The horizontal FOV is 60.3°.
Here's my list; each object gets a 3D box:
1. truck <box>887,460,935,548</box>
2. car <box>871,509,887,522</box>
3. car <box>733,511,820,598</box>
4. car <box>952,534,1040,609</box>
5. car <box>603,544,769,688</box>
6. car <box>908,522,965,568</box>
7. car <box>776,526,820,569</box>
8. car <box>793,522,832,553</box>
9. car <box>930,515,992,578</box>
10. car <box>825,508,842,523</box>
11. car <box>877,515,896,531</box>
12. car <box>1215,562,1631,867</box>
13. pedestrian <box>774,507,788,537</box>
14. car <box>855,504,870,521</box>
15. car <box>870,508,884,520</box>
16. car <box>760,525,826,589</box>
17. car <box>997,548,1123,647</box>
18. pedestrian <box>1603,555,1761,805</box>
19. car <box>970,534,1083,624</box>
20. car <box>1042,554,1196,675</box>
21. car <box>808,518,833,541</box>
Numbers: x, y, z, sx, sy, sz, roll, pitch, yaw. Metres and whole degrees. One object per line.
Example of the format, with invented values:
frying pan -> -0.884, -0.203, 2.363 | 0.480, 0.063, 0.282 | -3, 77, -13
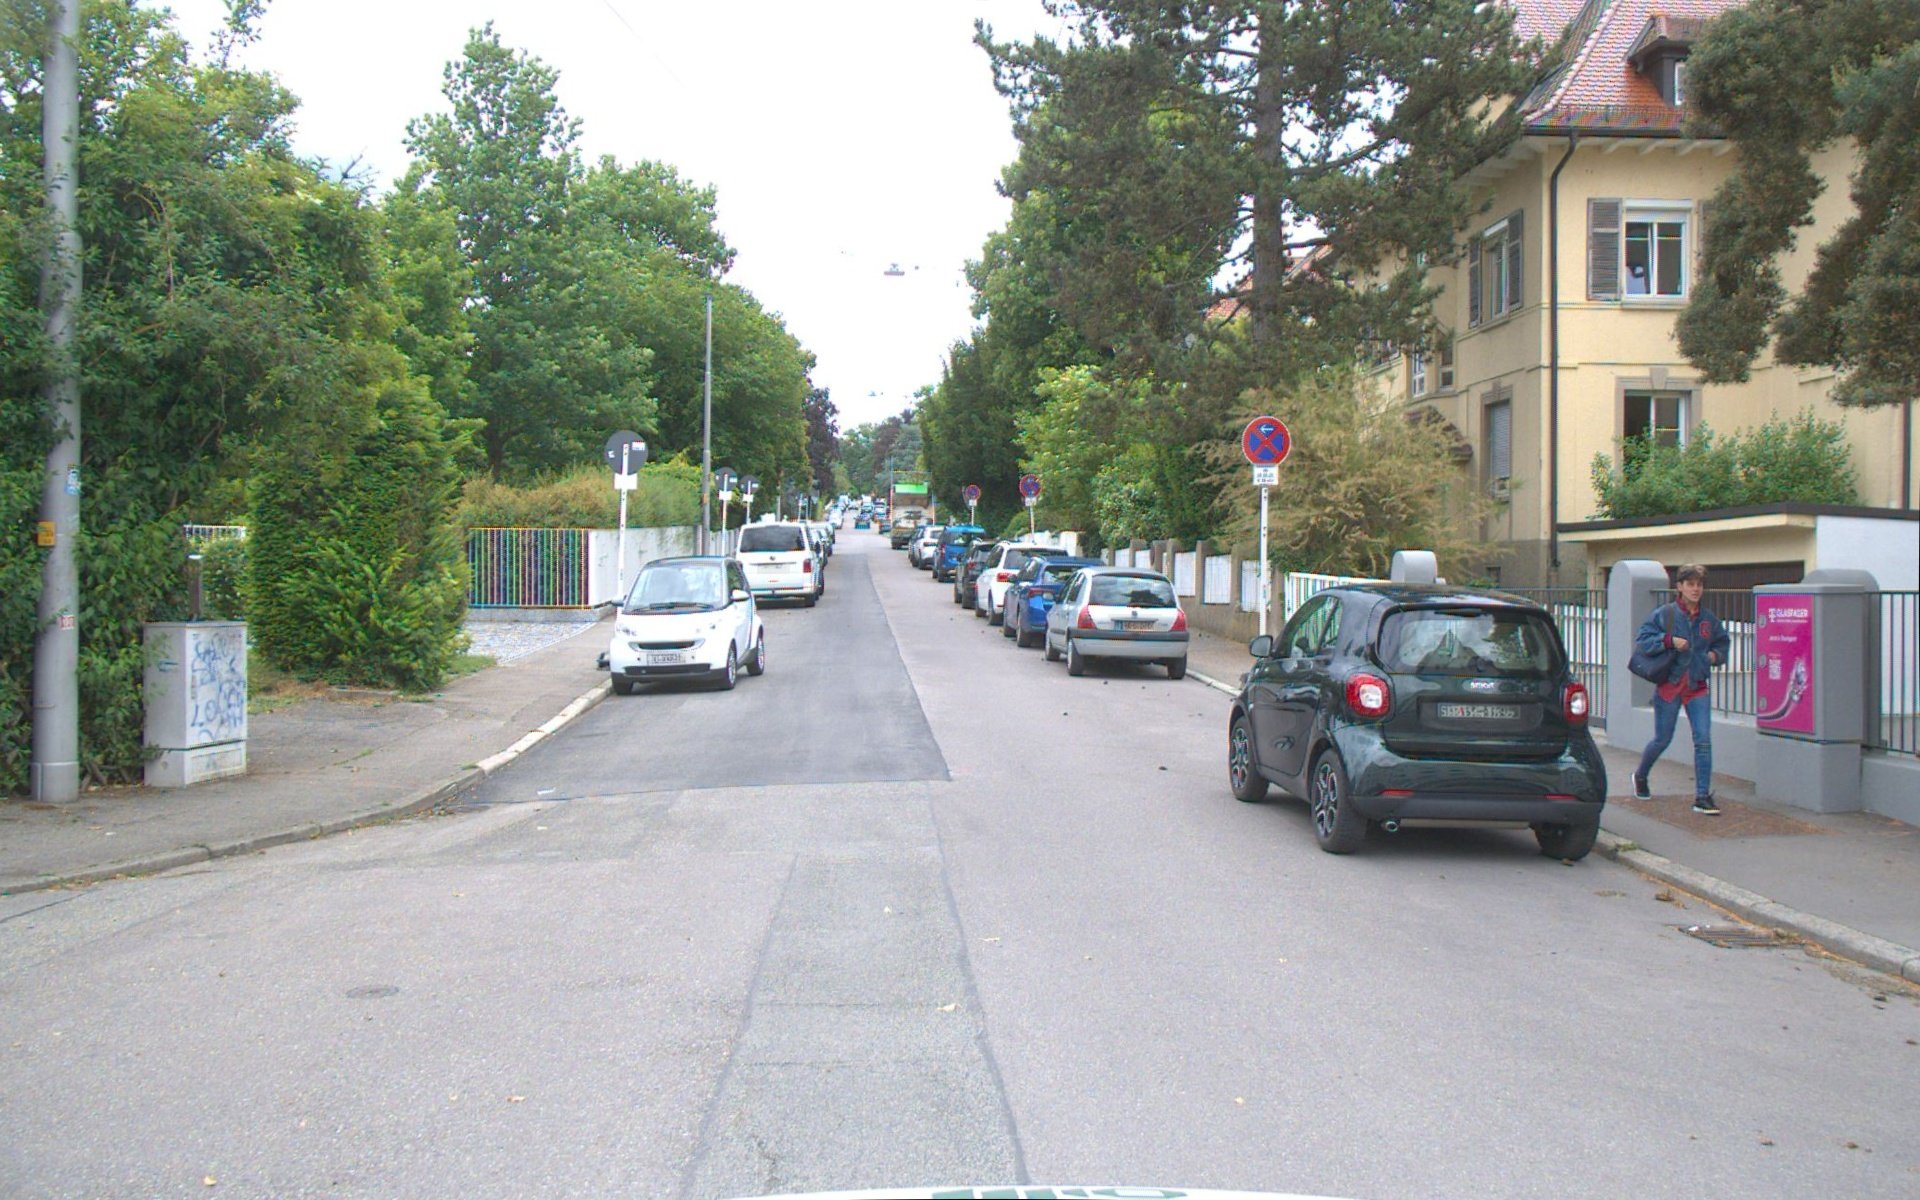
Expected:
truck -> -2.917, -5.570, 96.022 | 2.474, 4.829, 7.185 | 2, 3, -3
car -> -10.228, -10.673, 208.872 | 1.775, 1.358, 3.631 | 2, 4, -5
car -> -4.365, -1.137, 39.997 | 1.818, 1.946, 4.617 | -1, 3, -4
car -> 0.817, -0.738, 40.393 | 1.716, 1.635, 4.073 | 3, 2, -4
car -> -3.346, 0.141, 20.596 | 1.412, 1.579, 2.771 | -2, 3, 3
car -> -0.981, -2.208, 65.542 | 1.724, 1.633, 4.569 | 2, 3, -7
car -> -6.322, -2.047, 64.416 | 1.591, 1.559, 2.959 | -1, 3, -7
car -> -7.294, -3.112, 81.929 | 1.608, 1.446, 4.549 | -1, 3, -2
car -> -0.013, -1.795, 54.507 | 1.649, 1.860, 4.155 | 3, 3, -5
car -> -14.140, -9.471, 184.827 | 1.677, 1.613, 4.001 | 1, 3, -1
car -> -7.344, -7.733, 165.395 | 1.744, 1.514, 3.997 | 1, 3, -5
car -> 2.813, 0.619, 10.658 | 1.542, 1.558, 2.865 | 3, 2, -6
pedestrian -> -12.327, -5.372, 114.043 | 0.836, 2.048, 0.699 | 2, 2, -9
car -> -10.974, -9.834, 185.499 | 1.602, 1.730, 3.492 | 1, 3, -5
car -> -10.895, -11.313, 217.717 | 1.754, 1.555, 3.734 | 1, 3, -2
car -> -4.667, -1.253, 46.193 | 1.756, 1.651, 4.339 | 0, 3, -6
car -> 1.626, -0.101, 28.165 | 1.615, 1.483, 4.050 | 2, 2, -4
pedestrian -> 4.867, 0.515, 11.195 | 0.667, 1.604, 0.907 | -1, 0, 2
car -> 1.323, -0.499, 34.477 | 1.750, 1.631, 4.301 | 2, 3, -5
car -> 2.141, 0.142, 23.129 | 1.543, 1.424, 3.654 | 2, 3, -4
car -> -9.179, -4.660, 108.836 | 1.605, 1.419, 3.986 | -1, 3, -5
